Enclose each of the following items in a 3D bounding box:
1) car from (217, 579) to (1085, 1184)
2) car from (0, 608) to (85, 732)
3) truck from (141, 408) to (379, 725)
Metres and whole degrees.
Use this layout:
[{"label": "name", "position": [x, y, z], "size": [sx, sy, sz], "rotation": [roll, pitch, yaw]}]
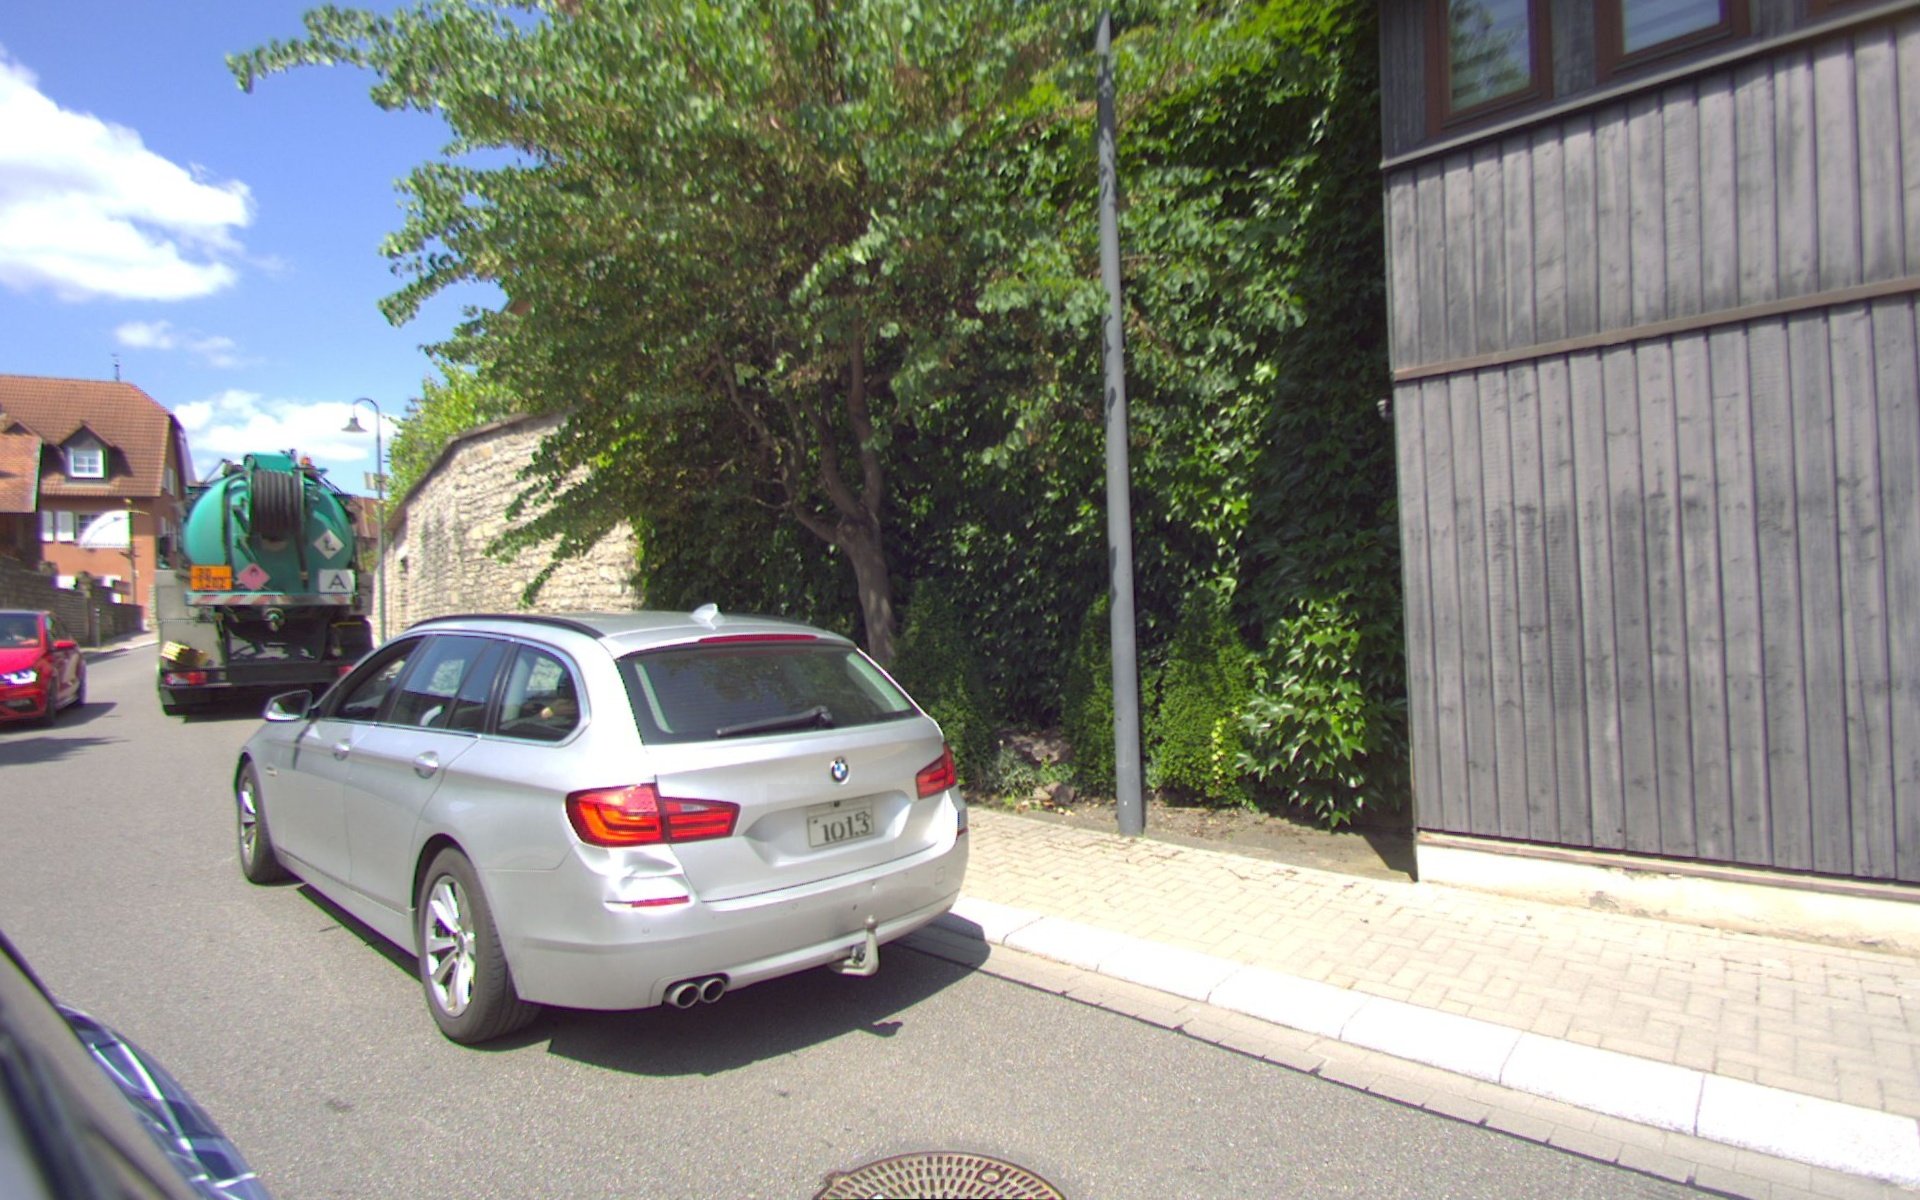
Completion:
[{"label": "car", "position": [-1.846, 0.759, 4.806], "size": [4.613, 1.512, 1.875], "rotation": [-2, -1, 43]}, {"label": "car", "position": [-12.021, 0.800, 12.334], "size": [1.643, 1.362, 3.503], "rotation": [0, -1, -34]}, {"label": "truck", "position": [-11.390, -0.304, 16.325], "size": [2.380, 3.686, 9.588], "rotation": [1, -1, -37]}]
